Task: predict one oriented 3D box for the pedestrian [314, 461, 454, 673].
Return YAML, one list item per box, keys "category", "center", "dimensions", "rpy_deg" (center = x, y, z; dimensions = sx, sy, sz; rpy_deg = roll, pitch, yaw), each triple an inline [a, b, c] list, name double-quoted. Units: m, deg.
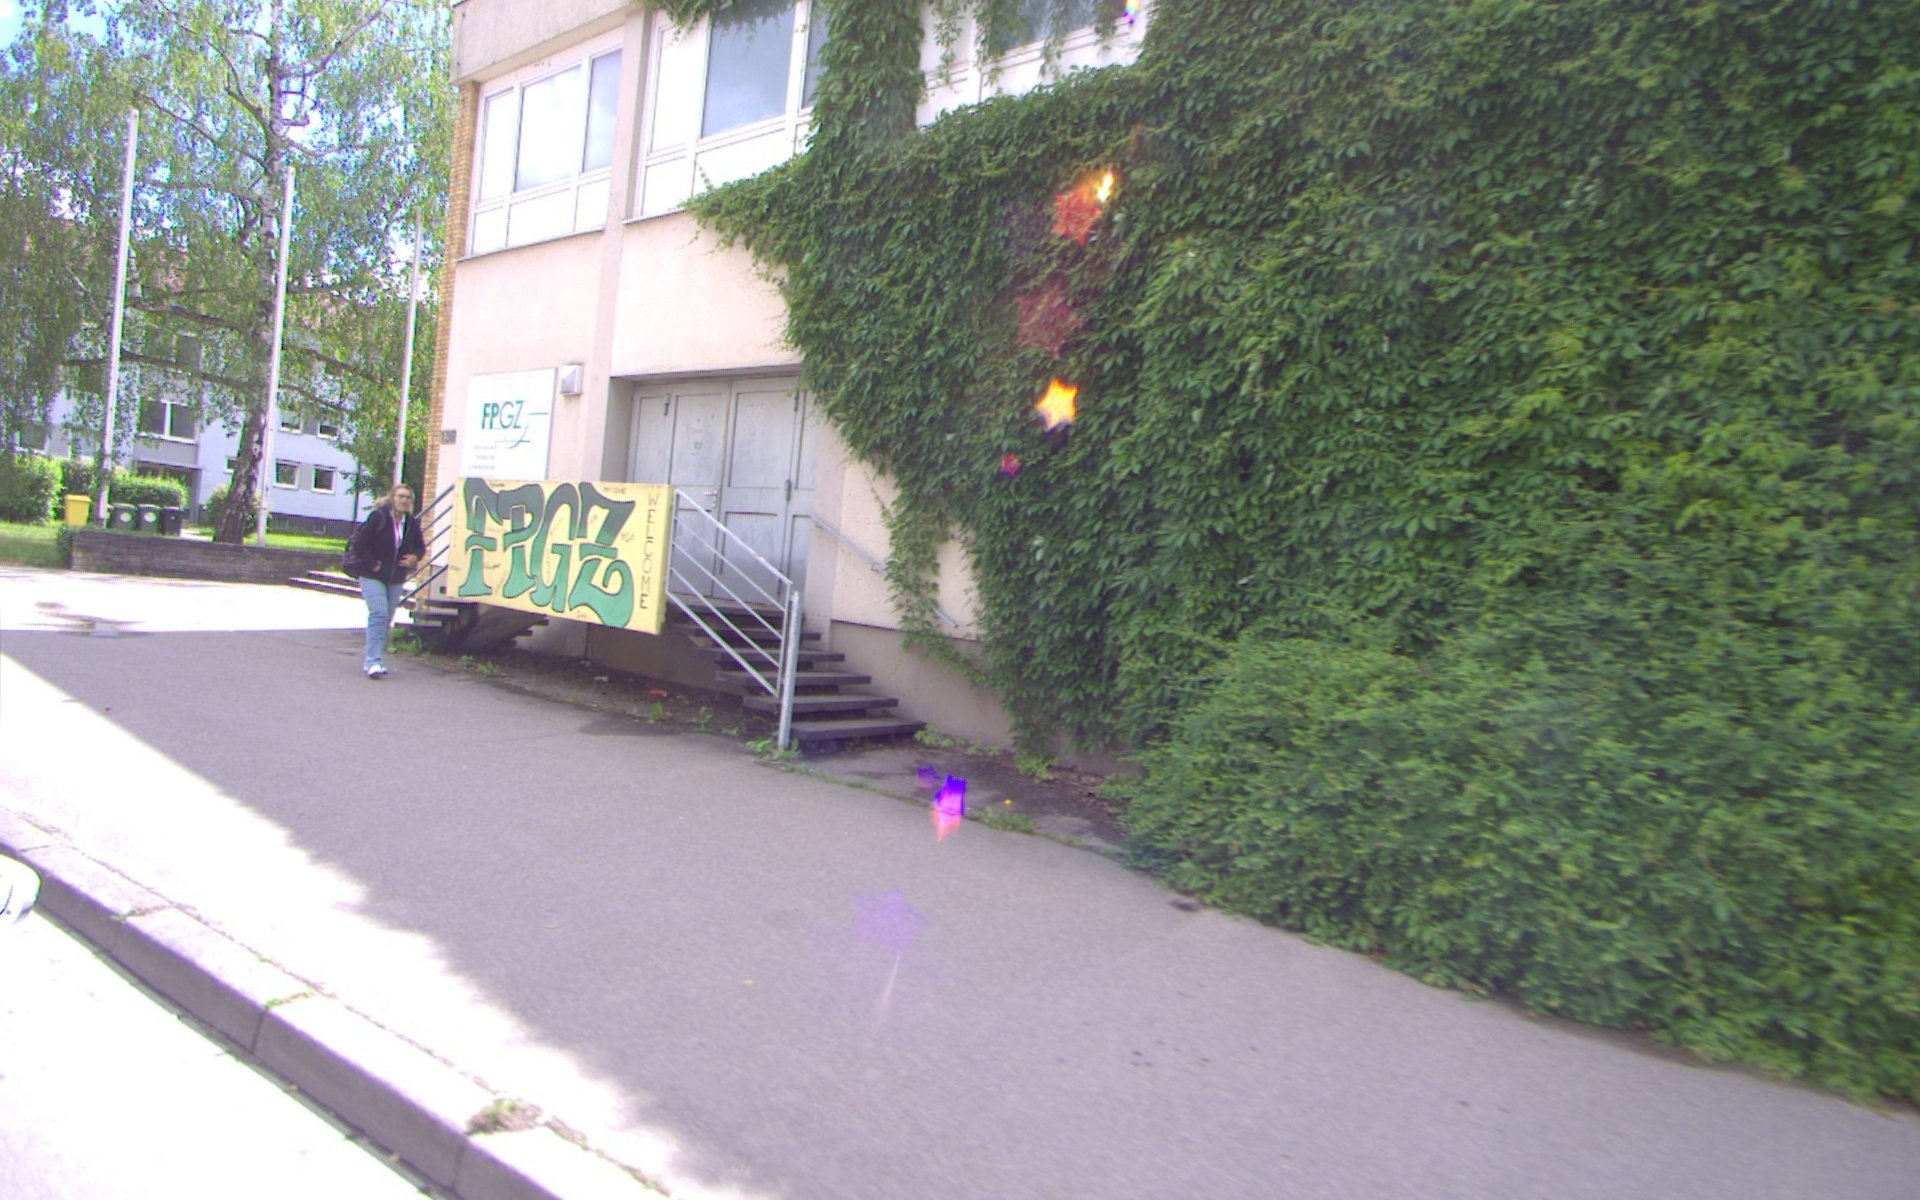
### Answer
- category: "pedestrian"
  center: [-5.188, -0.296, 9.061]
  dimensions: [0.805, 1.795, 0.807]
  rpy_deg: [7, 4, 41]
